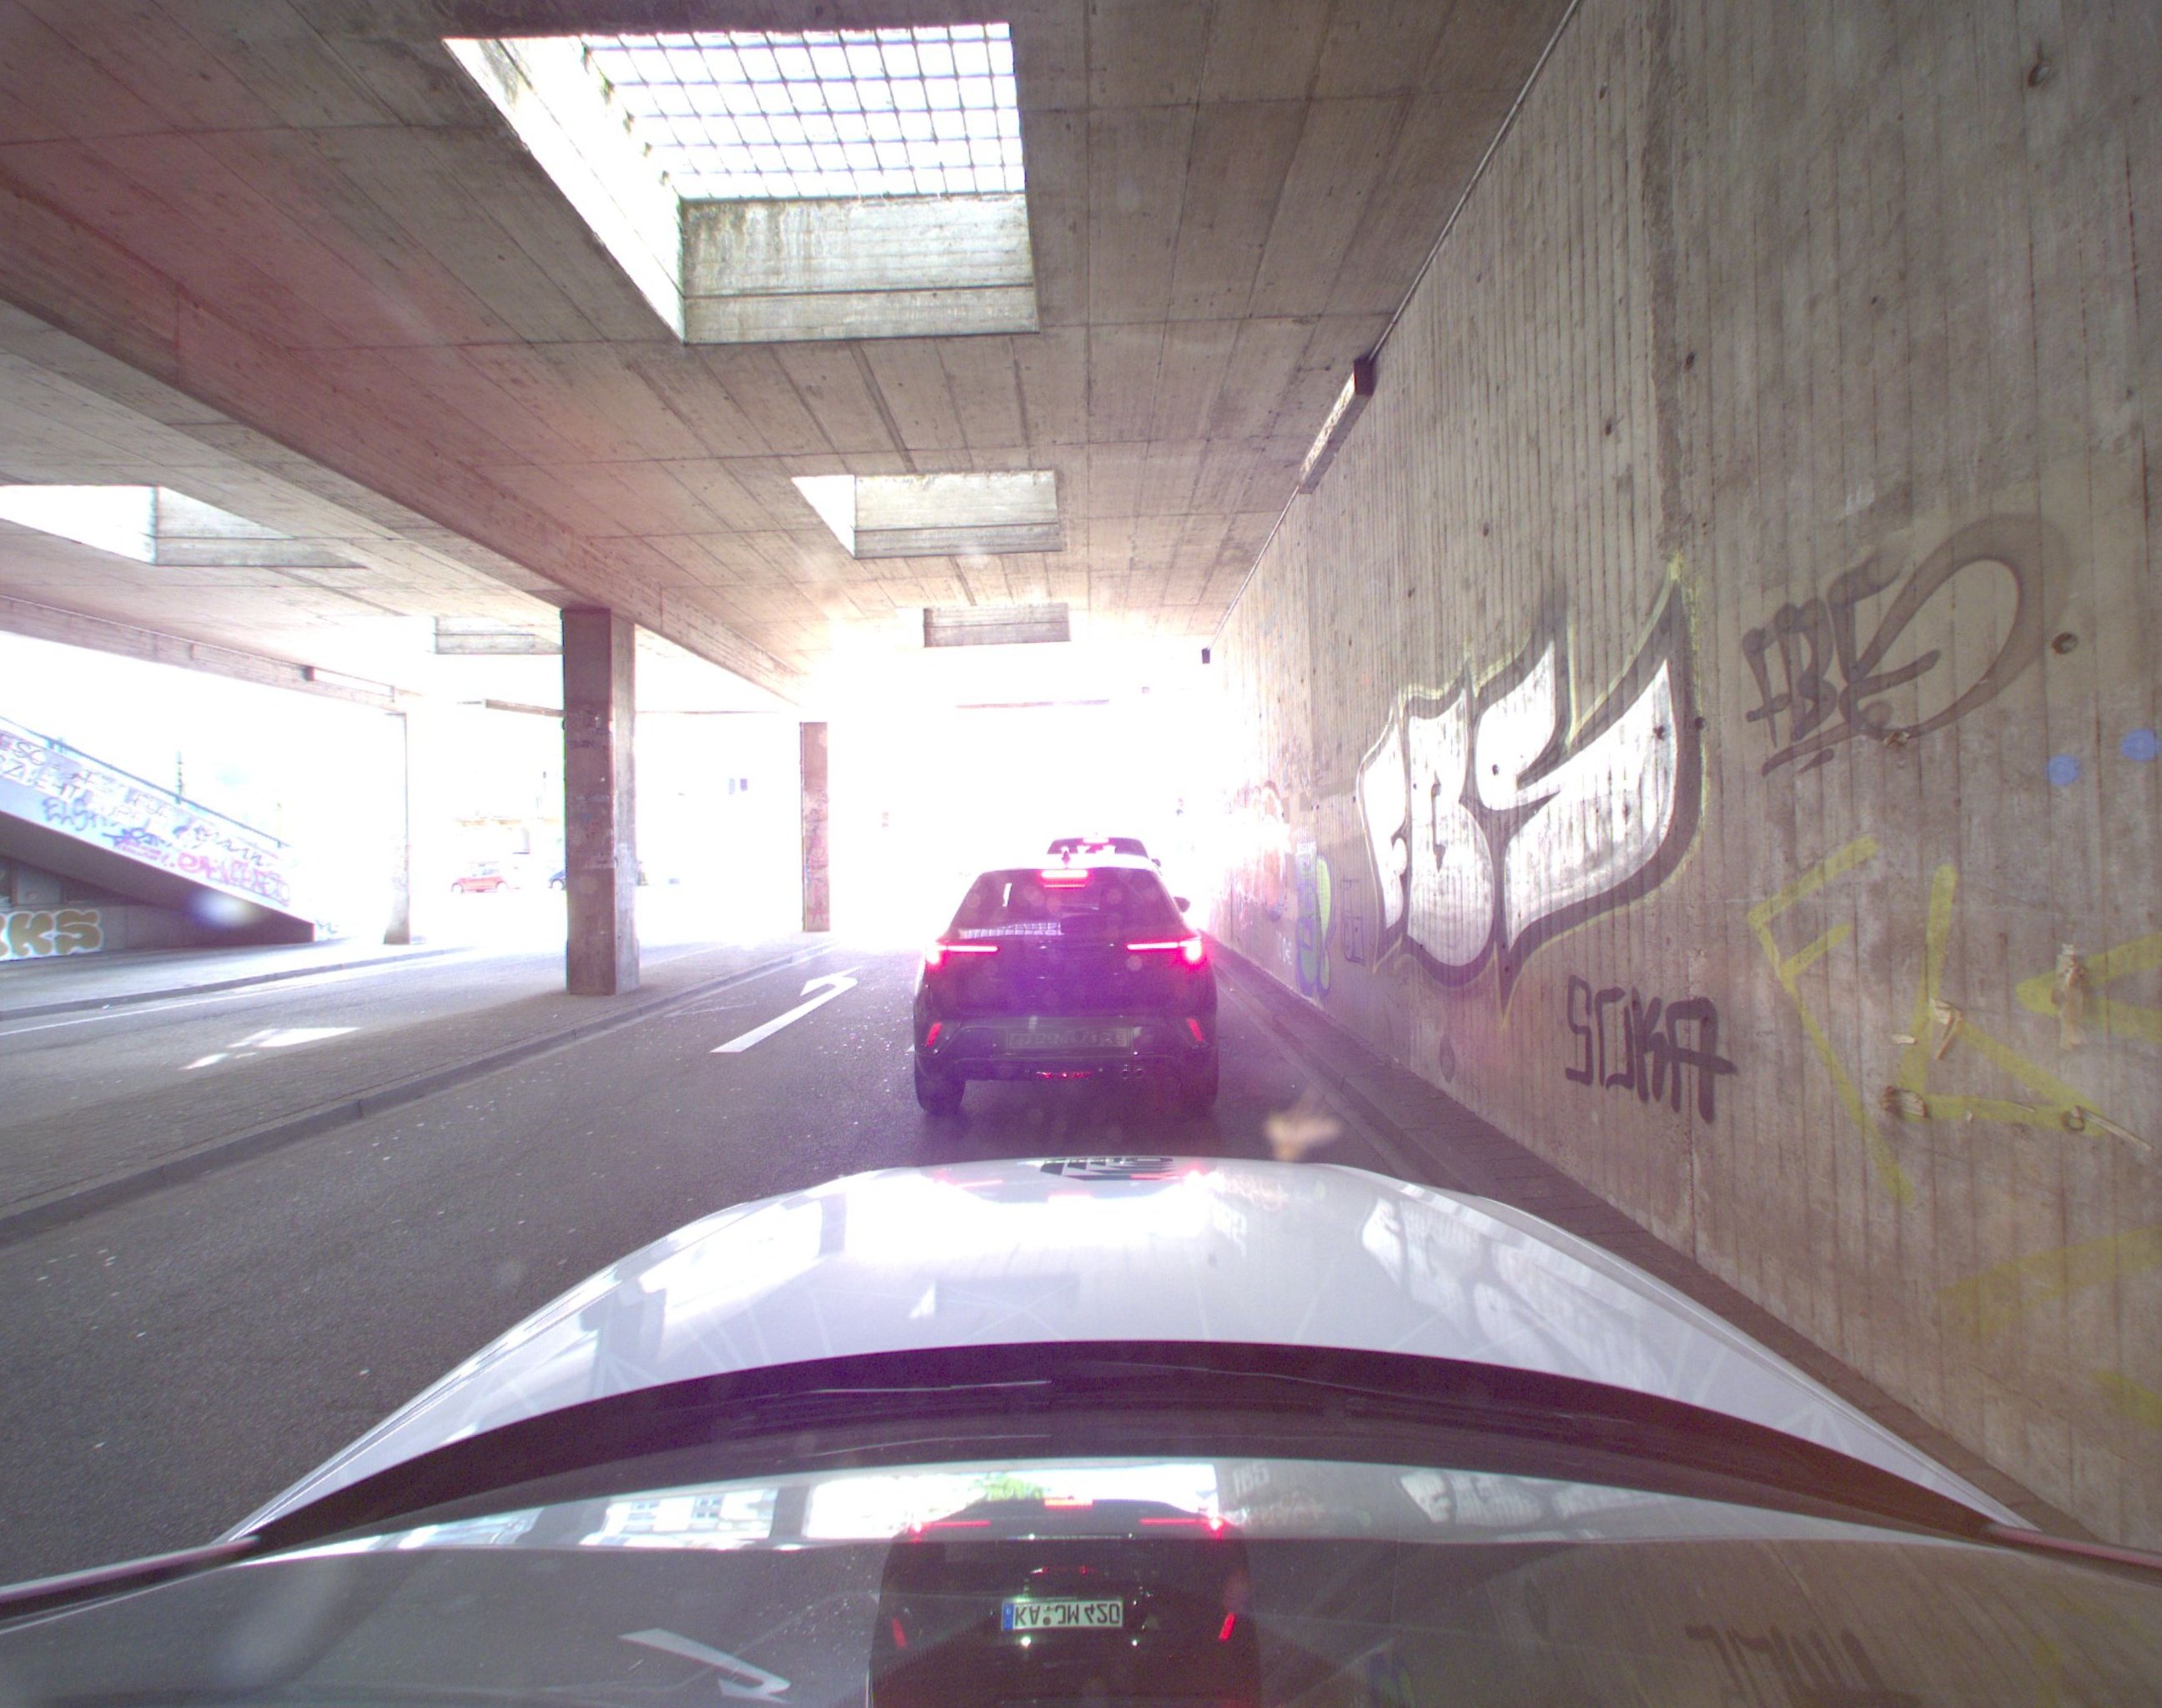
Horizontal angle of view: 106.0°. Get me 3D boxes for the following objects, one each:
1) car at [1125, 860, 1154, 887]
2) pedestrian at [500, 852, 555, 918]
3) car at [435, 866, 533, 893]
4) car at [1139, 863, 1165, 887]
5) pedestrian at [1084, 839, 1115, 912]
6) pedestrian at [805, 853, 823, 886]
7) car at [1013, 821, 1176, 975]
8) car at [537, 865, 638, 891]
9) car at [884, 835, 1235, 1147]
[{"bbox_3d":[4.512,1.450,62.395,1.983,1.970,4.172,0,-1,7],"label":"car"},{"bbox_3d":[-14.956,0.827,22.015,0.925,1.762,0.795,0,-1,3],"label":"pedestrian"},{"bbox_3d":[-33.117,1.404,45.292,3.975,1.409,1.925,0,-1,-1],"label":"car"},{"bbox_3d":[6.023,1.715,68.497,1.983,1.970,4.172,0,-1,7],"label":"car"},{"bbox_3d":[0.448,0.522,19.925,0.728,1.734,0.874,0,-1,1],"label":"pedestrian"},{"bbox_3d":[-13.592,0.787,41.514,0.669,1.637,0.741,0,-1,1],"label":"pedestrian"},{"bbox_3d":[0.232,0.547,12.147,1.986,1.871,4.002,-2,0,2],"label":"car"},{"bbox_3d":[-27.301,1.319,45.184,4.393,1.409,1.925,0,-1,-1],"label":"car"},{"bbox_3d":[-0.044,0.658,6.108,1.758,1.571,4.002,0,1,2],"label":"car"}]
